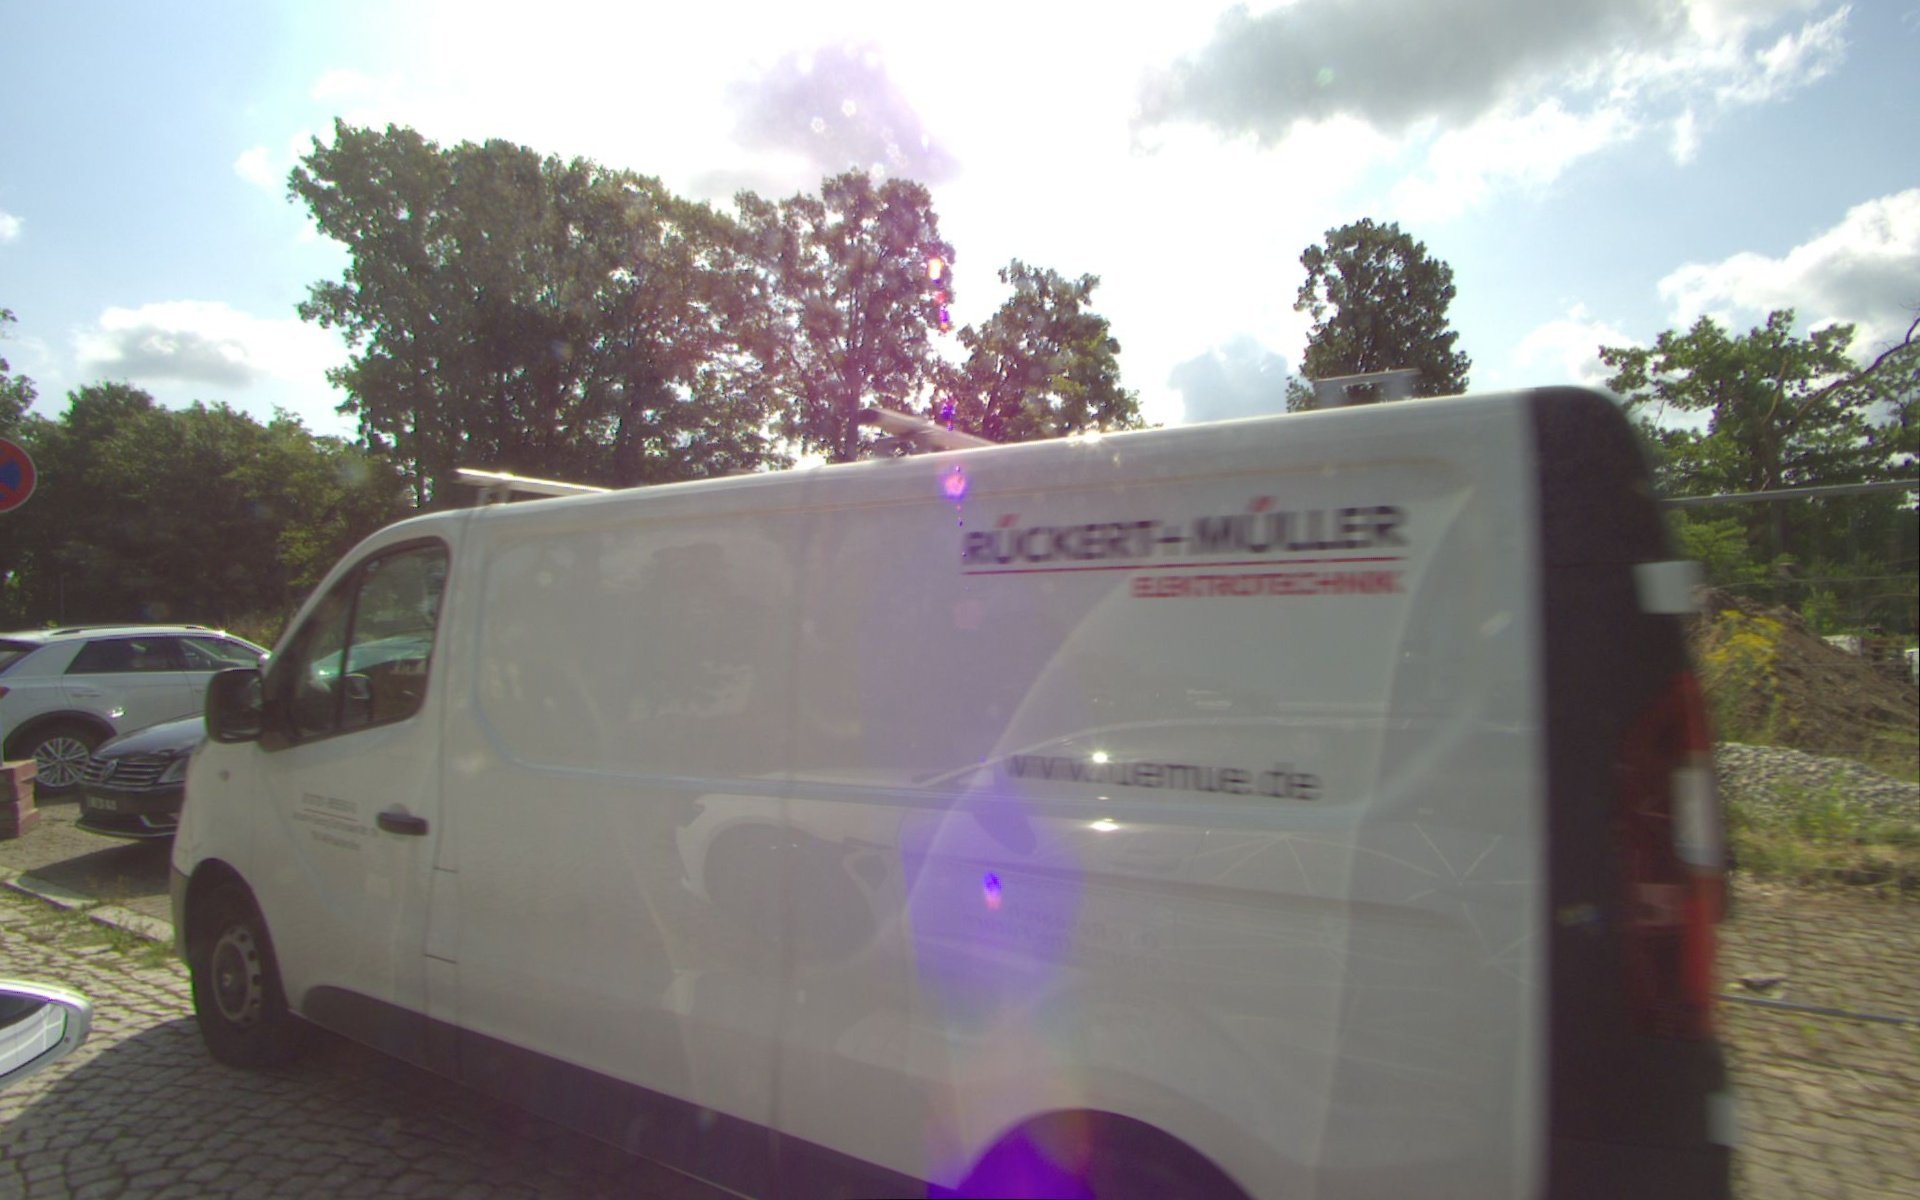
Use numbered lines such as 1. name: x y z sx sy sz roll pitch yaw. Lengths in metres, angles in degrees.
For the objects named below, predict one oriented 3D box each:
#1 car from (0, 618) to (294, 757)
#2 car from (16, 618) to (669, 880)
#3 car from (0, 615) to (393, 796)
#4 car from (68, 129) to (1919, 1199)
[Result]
1. car: -10.962 1.020 12.545 1.678 1.483 4.038 -1 0 28
2. car: -4.692 0.959 8.457 1.718 1.494 4.451 -1 0 27
3. car: -8.502 0.976 10.665 1.720 1.527 3.982 -1 0 28
4. car: -0.772 0.596 3.386 5.598 2.080 1.910 -1 -1 33
